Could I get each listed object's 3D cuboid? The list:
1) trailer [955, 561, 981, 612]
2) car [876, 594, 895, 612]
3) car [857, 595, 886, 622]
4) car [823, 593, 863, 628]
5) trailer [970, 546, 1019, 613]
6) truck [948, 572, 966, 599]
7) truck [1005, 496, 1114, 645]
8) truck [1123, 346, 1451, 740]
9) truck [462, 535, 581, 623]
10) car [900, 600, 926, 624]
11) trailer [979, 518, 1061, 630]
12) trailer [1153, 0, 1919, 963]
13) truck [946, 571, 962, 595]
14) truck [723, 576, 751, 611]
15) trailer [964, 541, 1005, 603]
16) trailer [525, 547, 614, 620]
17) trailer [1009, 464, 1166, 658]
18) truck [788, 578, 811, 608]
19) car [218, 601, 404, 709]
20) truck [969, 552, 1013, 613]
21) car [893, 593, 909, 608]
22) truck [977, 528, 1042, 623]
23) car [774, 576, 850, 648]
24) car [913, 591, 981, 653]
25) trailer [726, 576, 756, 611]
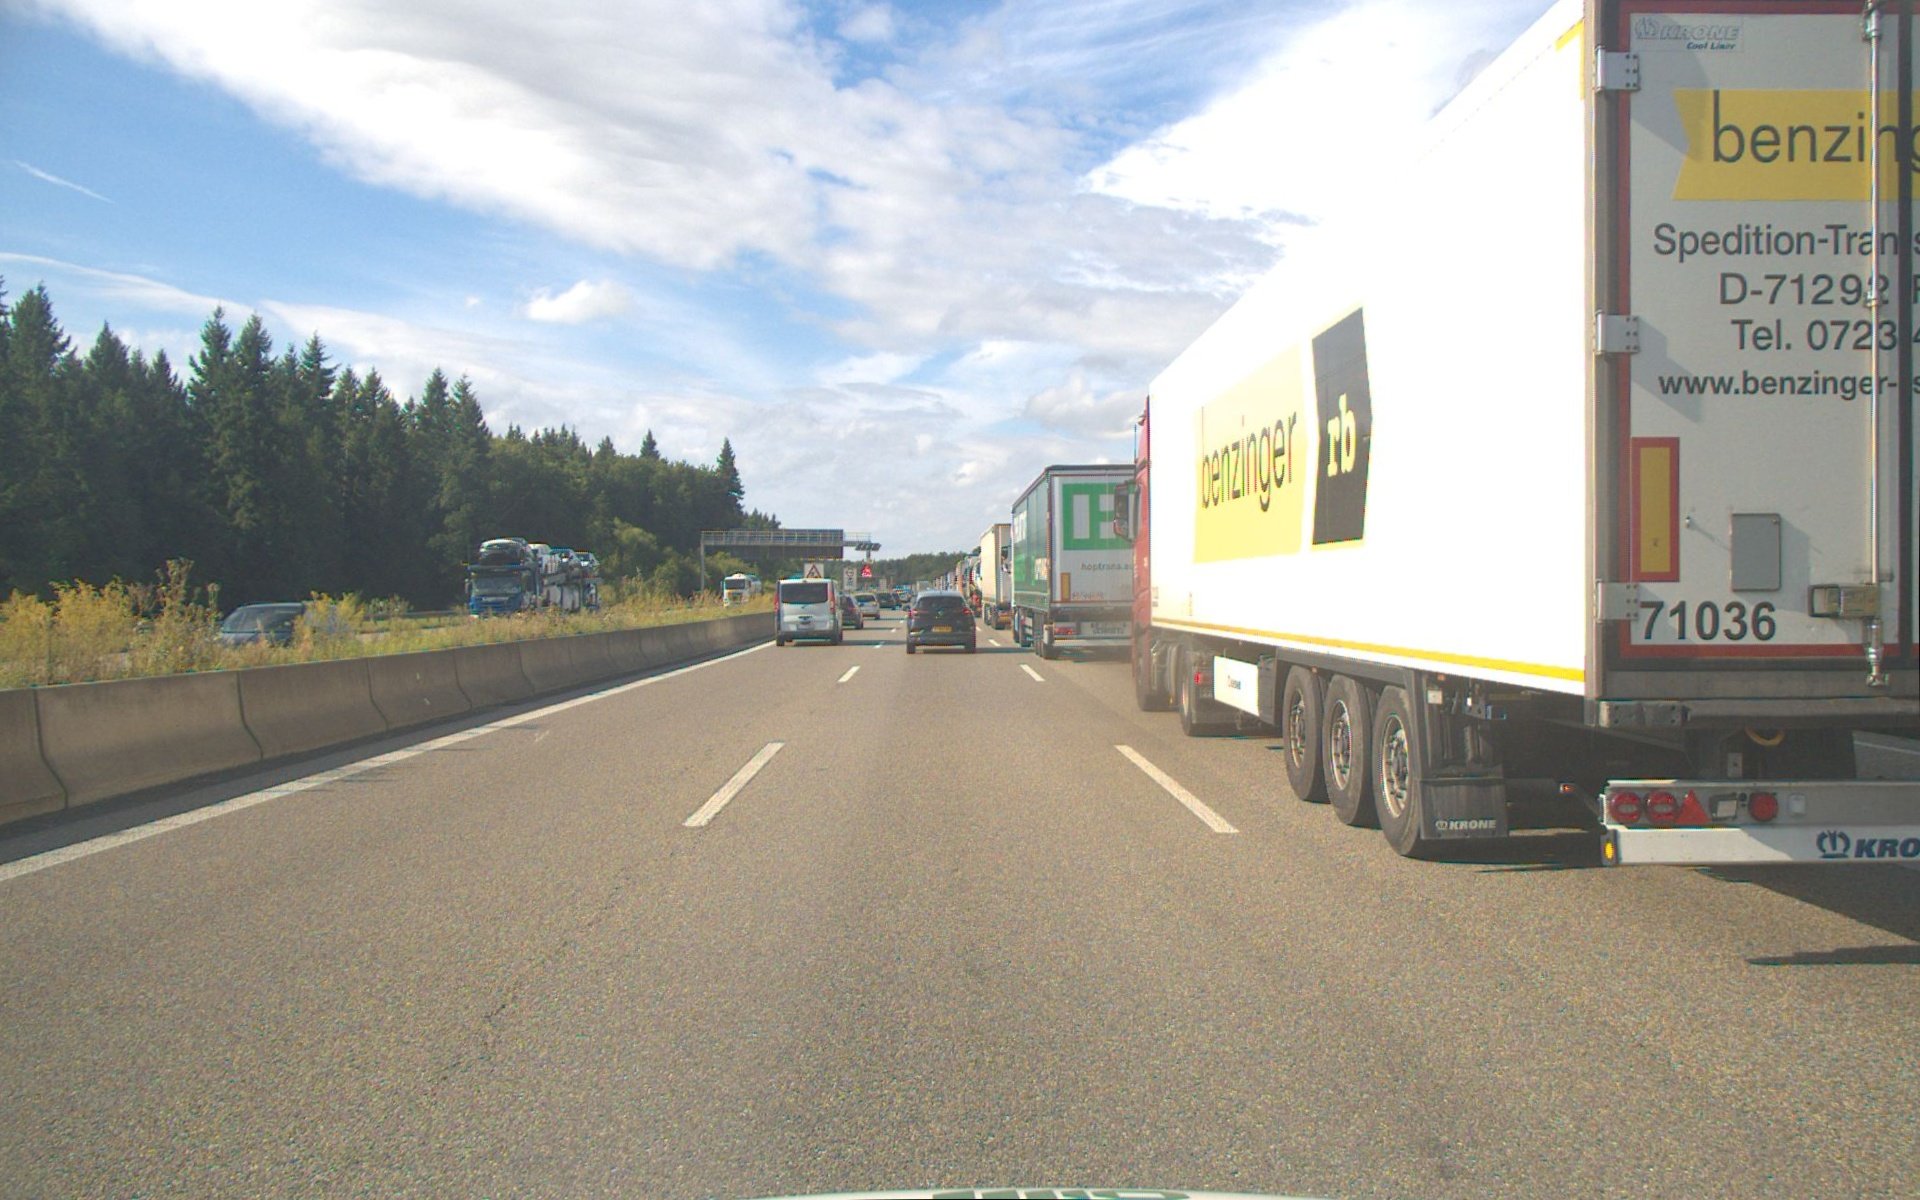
[{"bbox_3d":[0.659,-1.145,145.625,2.106,4.333,8.439,0,0,0],"label":"trailer"},{"bbox_3d":[-6.130,0.248,135.950,1.406,1.333,3.532,2,0,-1],"label":"car"},{"bbox_3d":[-4.919,0.470,92.110,1.469,1.420,3.475,2,0,-1],"label":"car"},{"bbox_3d":[-4.890,0.425,69.579,1.469,1.420,3.475,1,0,-1],"label":"car"},{"bbox_3d":[1.966,-1.135,96.930,2.489,3.717,10.624,-1,0,-1],"label":"trailer"},{"bbox_3d":[-0.384,-1.673,193.704,1.953,2.983,4.981,2,0,0],"label":"truck"},{"bbox_3d":[2.732,-0.793,47.422,2.593,3.936,6.995,0,0,-1],"label":"truck"},{"bbox_3d":[3.637,-0.579,19.836,2.745,4.008,5.825,0,0,0],"label":"truck"},{"bbox_3d":[-20.038,-0.883,76.384,2.774,3.753,11.129,-1,0,-1],"label":"truck"},{"bbox_3d":[-2.914,0.736,102.324,1.549,1.420,3.207,2,0,-1],"label":"car"},{"bbox_3d":[2.319,-1.010,68.495,2.648,4.153,12.942,-1,0,-1],"label":"trailer"},{"bbox_3d":[3.686,-0.586,12.974,2.735,4.008,13.068,0,0,0],"label":"trailer"},{"bbox_3d":[-0.818,-2.238,220.960,1.953,3.105,4.981,2,0,0],"label":"truck"},{"bbox_3d":[-21.589,-0.642,160.361,2.271,3.331,6.100,0,0,-4],"label":"truck"},{"bbox_3d":[1.761,-1.955,122.716,2.745,4.318,11.055,-1,0,0],"label":"trailer"},{"bbox_3d":[-20.303,-0.812,86.424,2.742,3.590,8.950,-1,0,-2],"label":"trailer"},{"bbox_3d":[2.810,-0.798,40.517,2.607,3.936,13.392,0,0,-1],"label":"trailer"},{"bbox_3d":[-23.656,-1.066,244.407,2.656,4.318,10.340,-1,0,-2],"label":"truck"},{"bbox_3d":[-12.667,1.012,32.613,1.840,1.909,4.489,2,0,-1],"label":"car"},{"bbox_3d":[1.868,-1.042,103.336,2.482,3.646,6.728,-1,0,-1],"label":"truck"},{"bbox_3d":[-5.572,0.055,156.196,1.406,1.333,3.532,2,0,-1],"label":"car"},{"bbox_3d":[2.200,-1.066,75.986,2.653,4.130,6.360,-1,0,-1],"label":"truck"},{"bbox_3d":[-4.492,0.356,50.944,1.894,2.013,5.097,2,0,-1],"label":"car"},{"bbox_3d":[-0.352,0.537,42.662,1.662,1.509,4.159,1,0,-1],"label":"car"},{"bbox_3d":[-21.919,-0.645,165.955,2.275,3.342,10.868,0,0,-4],"label":"trailer"}]
